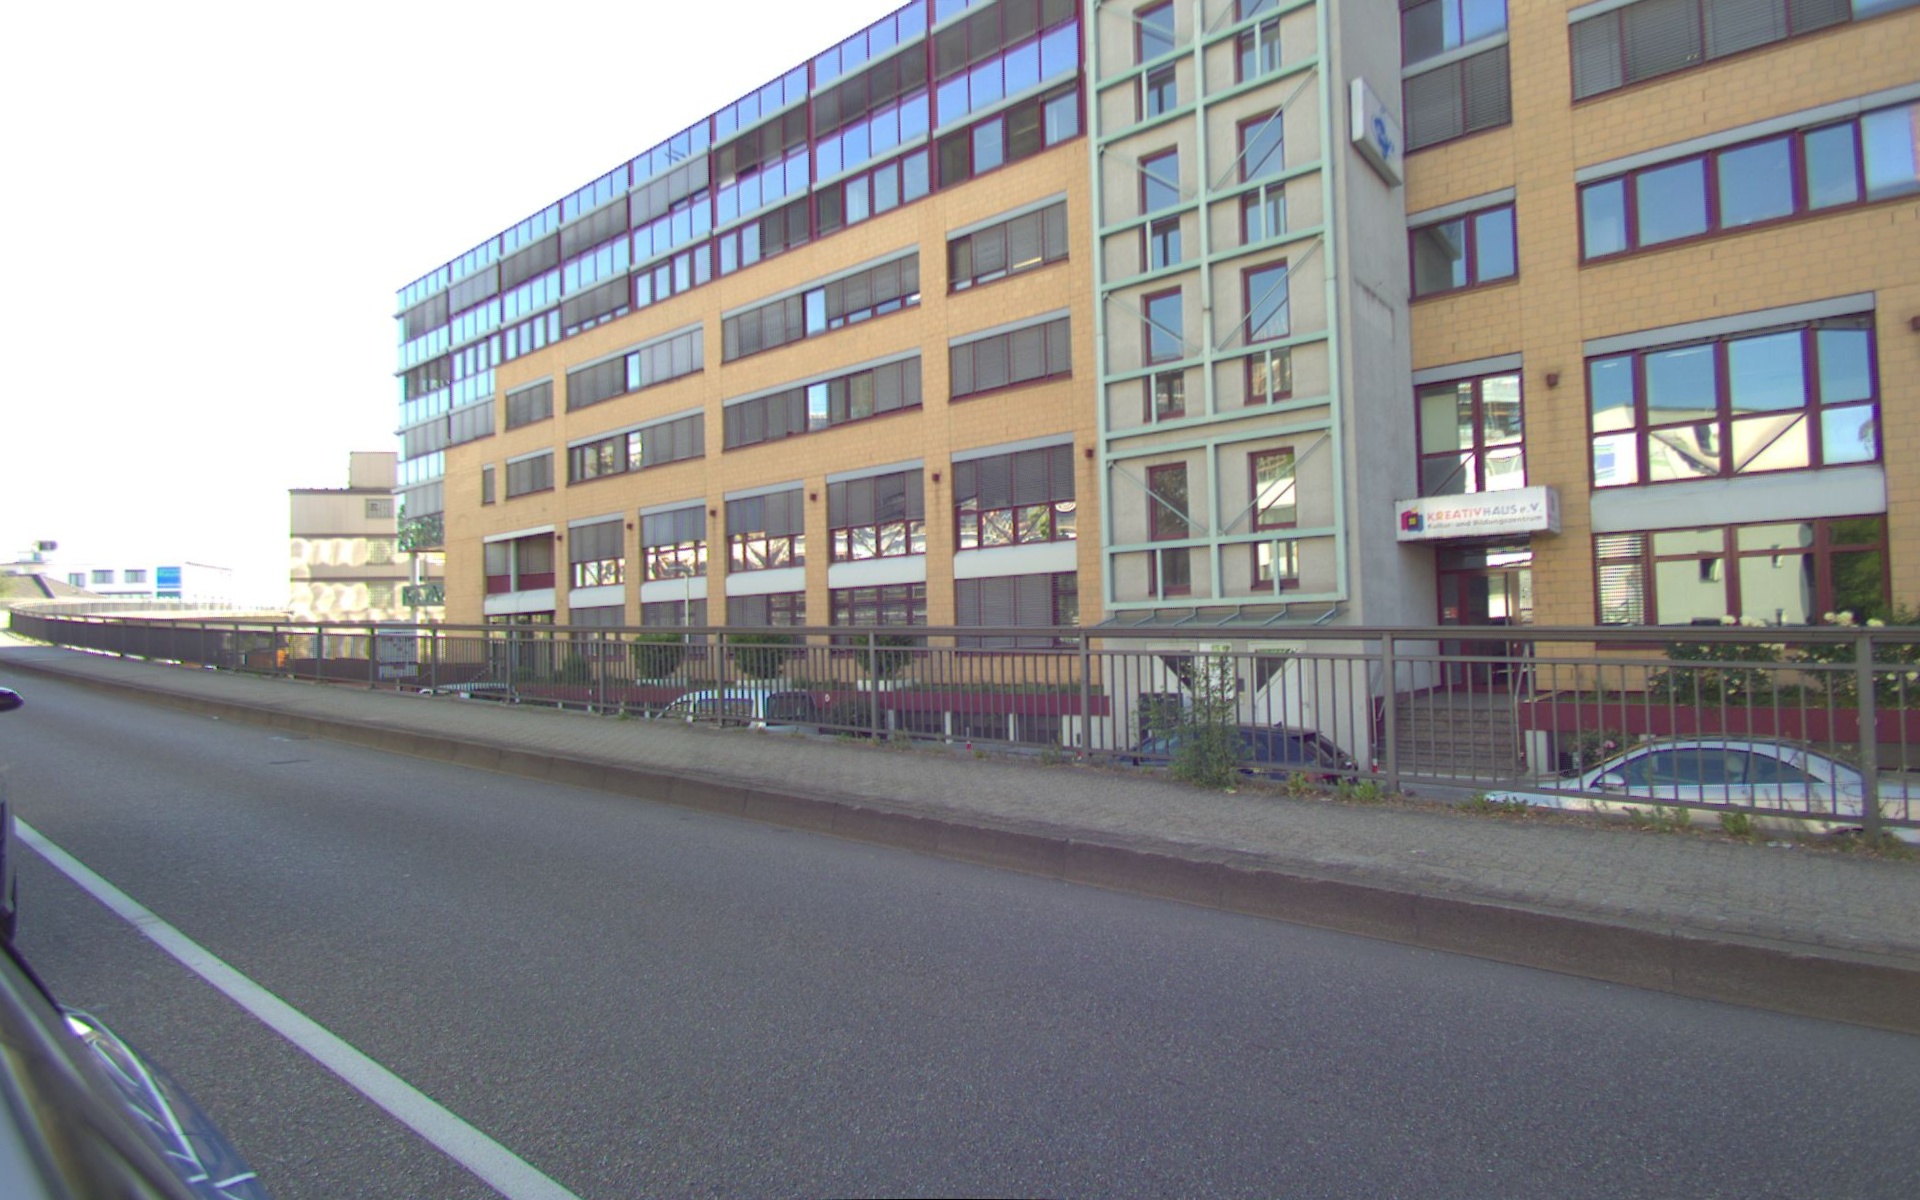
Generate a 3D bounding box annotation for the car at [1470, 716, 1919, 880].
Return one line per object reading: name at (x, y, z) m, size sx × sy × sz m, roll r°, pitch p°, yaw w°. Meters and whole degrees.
car at (7.683, 1.884, 10.207) m, size 4.254 × 1.175 × 1.704 m, roll -3°, pitch -4°, yaw 40°

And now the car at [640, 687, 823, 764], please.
car at (-4.595, 2.425, 20.128) m, size 3.805 × 1.279 × 1.560 m, roll -3°, pitch -4°, yaw 40°

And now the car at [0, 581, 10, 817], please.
car at (-5.846, 0.798, 4.660) m, size 3.998 × 1.660 × 1.726 m, roll -3°, pitch -4°, yaw 41°

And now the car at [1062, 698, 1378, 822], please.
car at (3.388, 2.034, 13.582) m, size 3.805 × 1.279 × 1.560 m, roll -3°, pitch -4°, yaw 40°

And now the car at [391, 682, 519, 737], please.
car at (-13.820, 2.928, 27.628) m, size 3.805 × 1.279 × 1.744 m, roll -3°, pitch -4°, yaw 40°
